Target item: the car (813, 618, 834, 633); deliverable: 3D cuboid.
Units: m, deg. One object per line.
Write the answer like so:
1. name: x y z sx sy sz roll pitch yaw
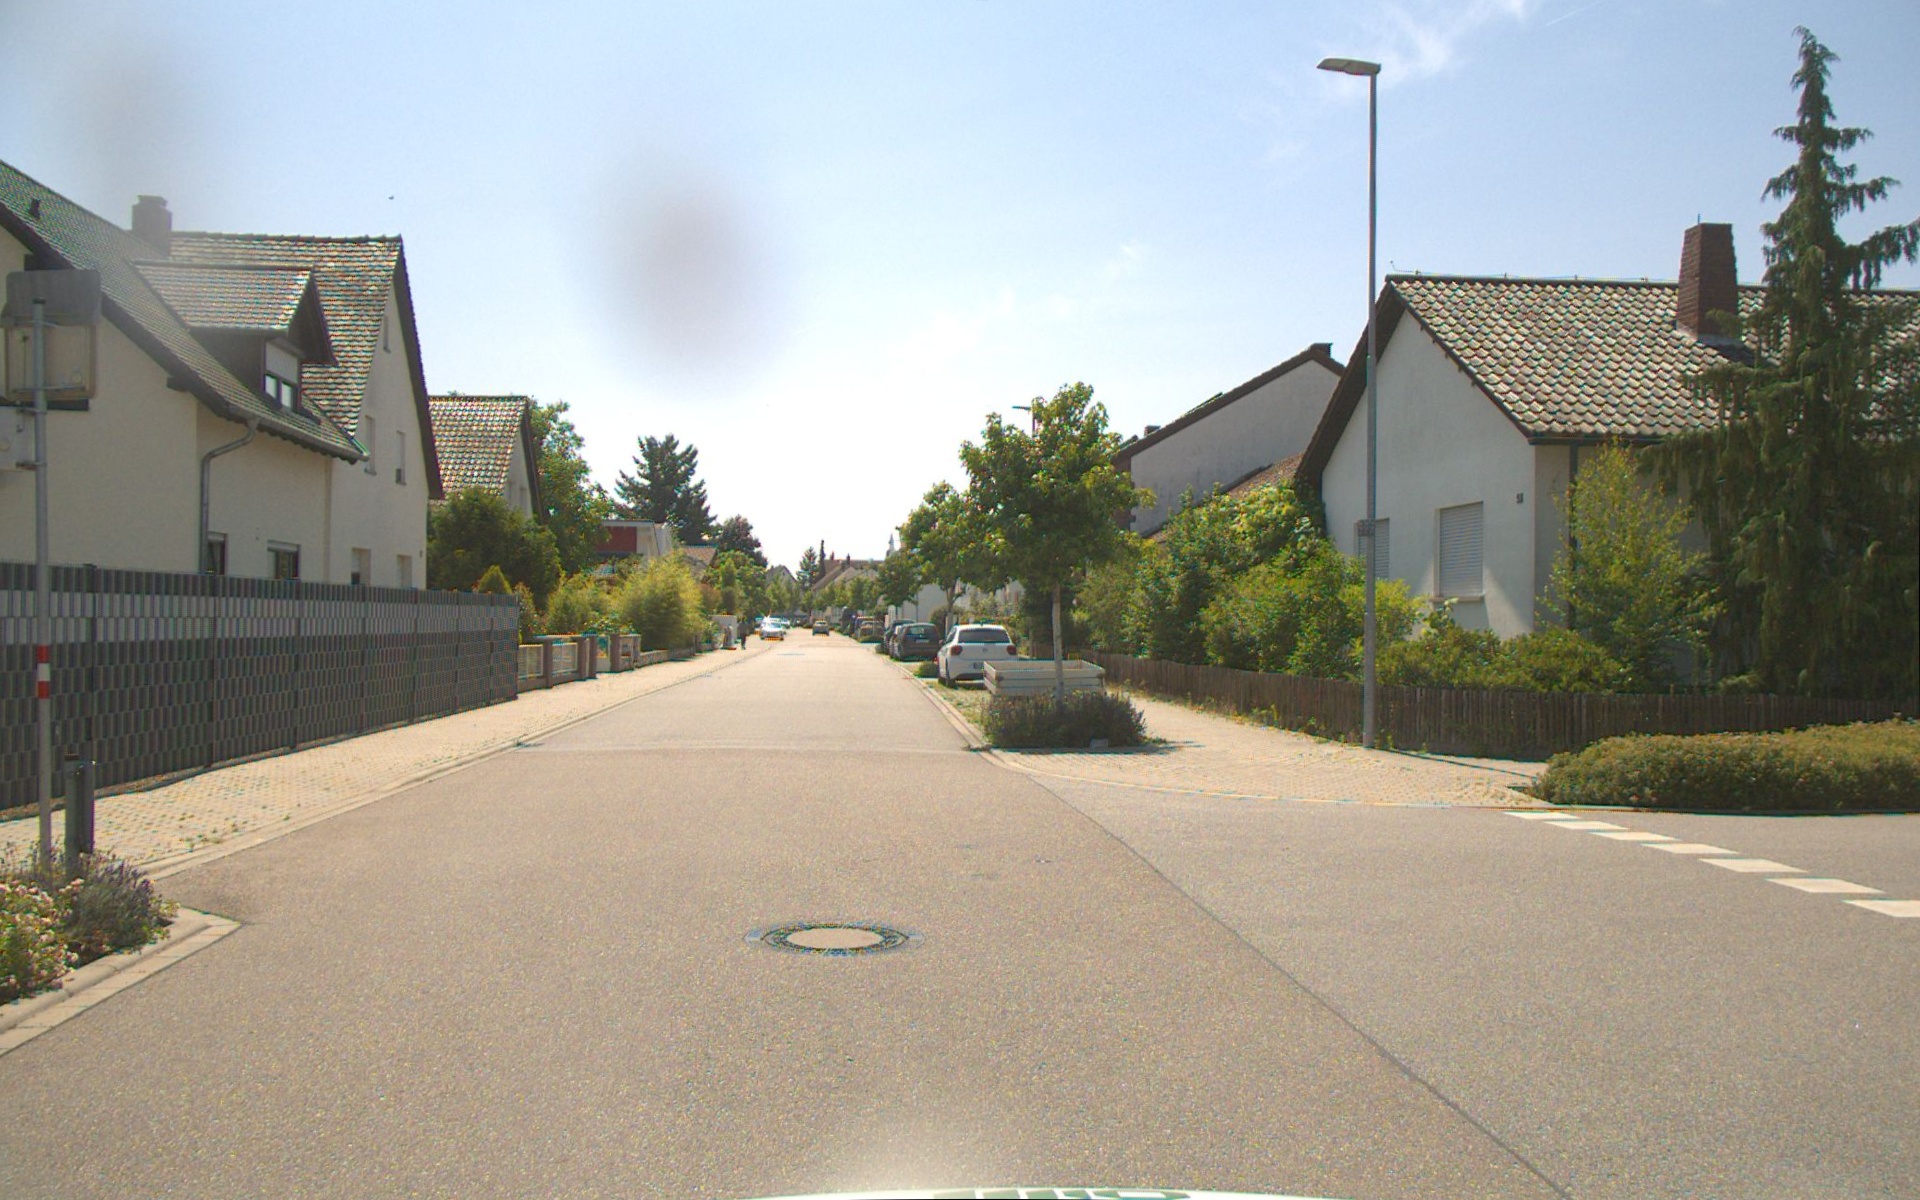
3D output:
1. car: -13.828 2.555 167.622 1.954 1.455 3.997 1 -1 -4

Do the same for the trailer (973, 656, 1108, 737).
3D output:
1. trailer: 1.168 1.440 25.188 1.752 1.077 2.896 0 0 -3

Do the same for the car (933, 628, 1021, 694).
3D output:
1. car: 0.360 1.409 39.415 1.779 1.445 3.864 0 0 -4

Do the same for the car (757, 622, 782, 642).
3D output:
1. car: -15.270 2.576 132.773 1.816 1.514 4.380 1 -1 -5

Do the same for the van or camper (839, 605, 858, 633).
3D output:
1. van or camper: -12.215 2.057 180.607 1.955 2.993 3.995 0 -1 -5

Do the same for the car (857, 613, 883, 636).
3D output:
1. car: -7.727 2.120 141.695 2.058 1.915 4.838 1 -1 -4

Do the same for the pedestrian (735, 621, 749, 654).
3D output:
1. pedestrian: -11.885 2.045 90.062 0.700 1.778 0.960 1 -1 -5

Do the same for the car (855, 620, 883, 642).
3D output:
1. car: -6.888 2.328 124.991 1.739 1.623 4.272 1 -1 -7

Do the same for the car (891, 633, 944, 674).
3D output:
1. car: -1.738 2.132 66.839 1.708 1.560 4.441 0 -1 -7
